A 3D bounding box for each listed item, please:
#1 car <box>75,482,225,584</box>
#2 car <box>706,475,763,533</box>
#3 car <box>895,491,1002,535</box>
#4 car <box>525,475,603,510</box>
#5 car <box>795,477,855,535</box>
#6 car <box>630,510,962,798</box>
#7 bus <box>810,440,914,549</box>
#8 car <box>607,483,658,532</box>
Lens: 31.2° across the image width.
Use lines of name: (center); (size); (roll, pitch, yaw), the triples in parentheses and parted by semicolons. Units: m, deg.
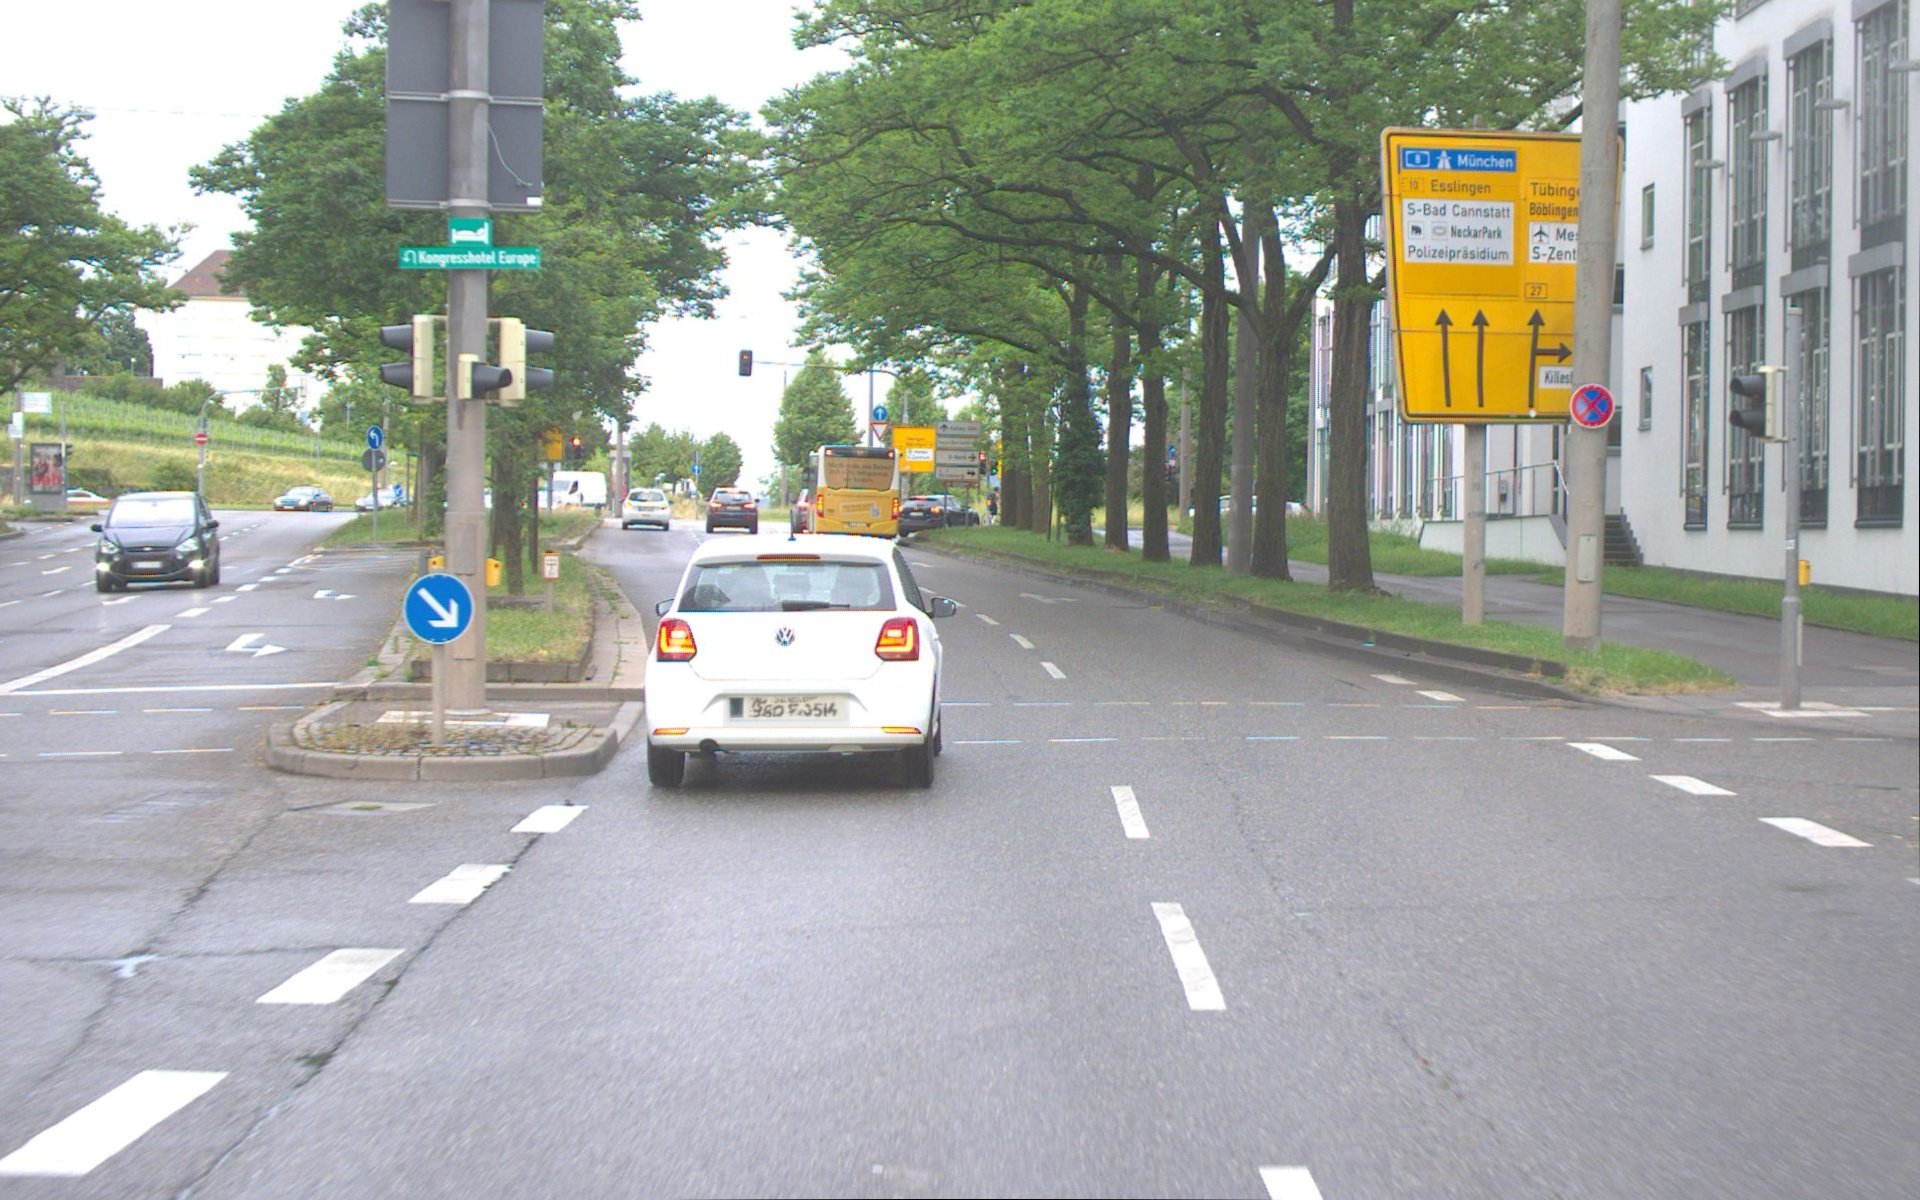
car: (-13.862, -1.187, 59.067); (1.993, 1.610, 5.122); (-1, 2, -8)
car: (-8.017, -3.378, 122.025); (1.993, 2.007, 4.001); (0, 1, -4)
car: (-0.395, -3.073, 122.115); (1.699, 1.510, 3.818); (1, 1, 41)
car: (-23.333, -6.366, 202.909); (1.996, 2.006, 5.704); (1, 2, 23)
car: (-4.840, -3.356, 123.042); (1.993, 2.007, 4.001); (0, 1, -4)
car: (-1.005, 0.250, 21.009); (1.794, 1.497, 4.001); (2, 2, -3)
bus: (-3.202, -3.380, 109.657); (2.828, 3.255, 10.002); (1, 2, -4)
car: (-11.757, -3.306, 123.495); (1.794, 1.735, 4.001); (0, 1, -5)
